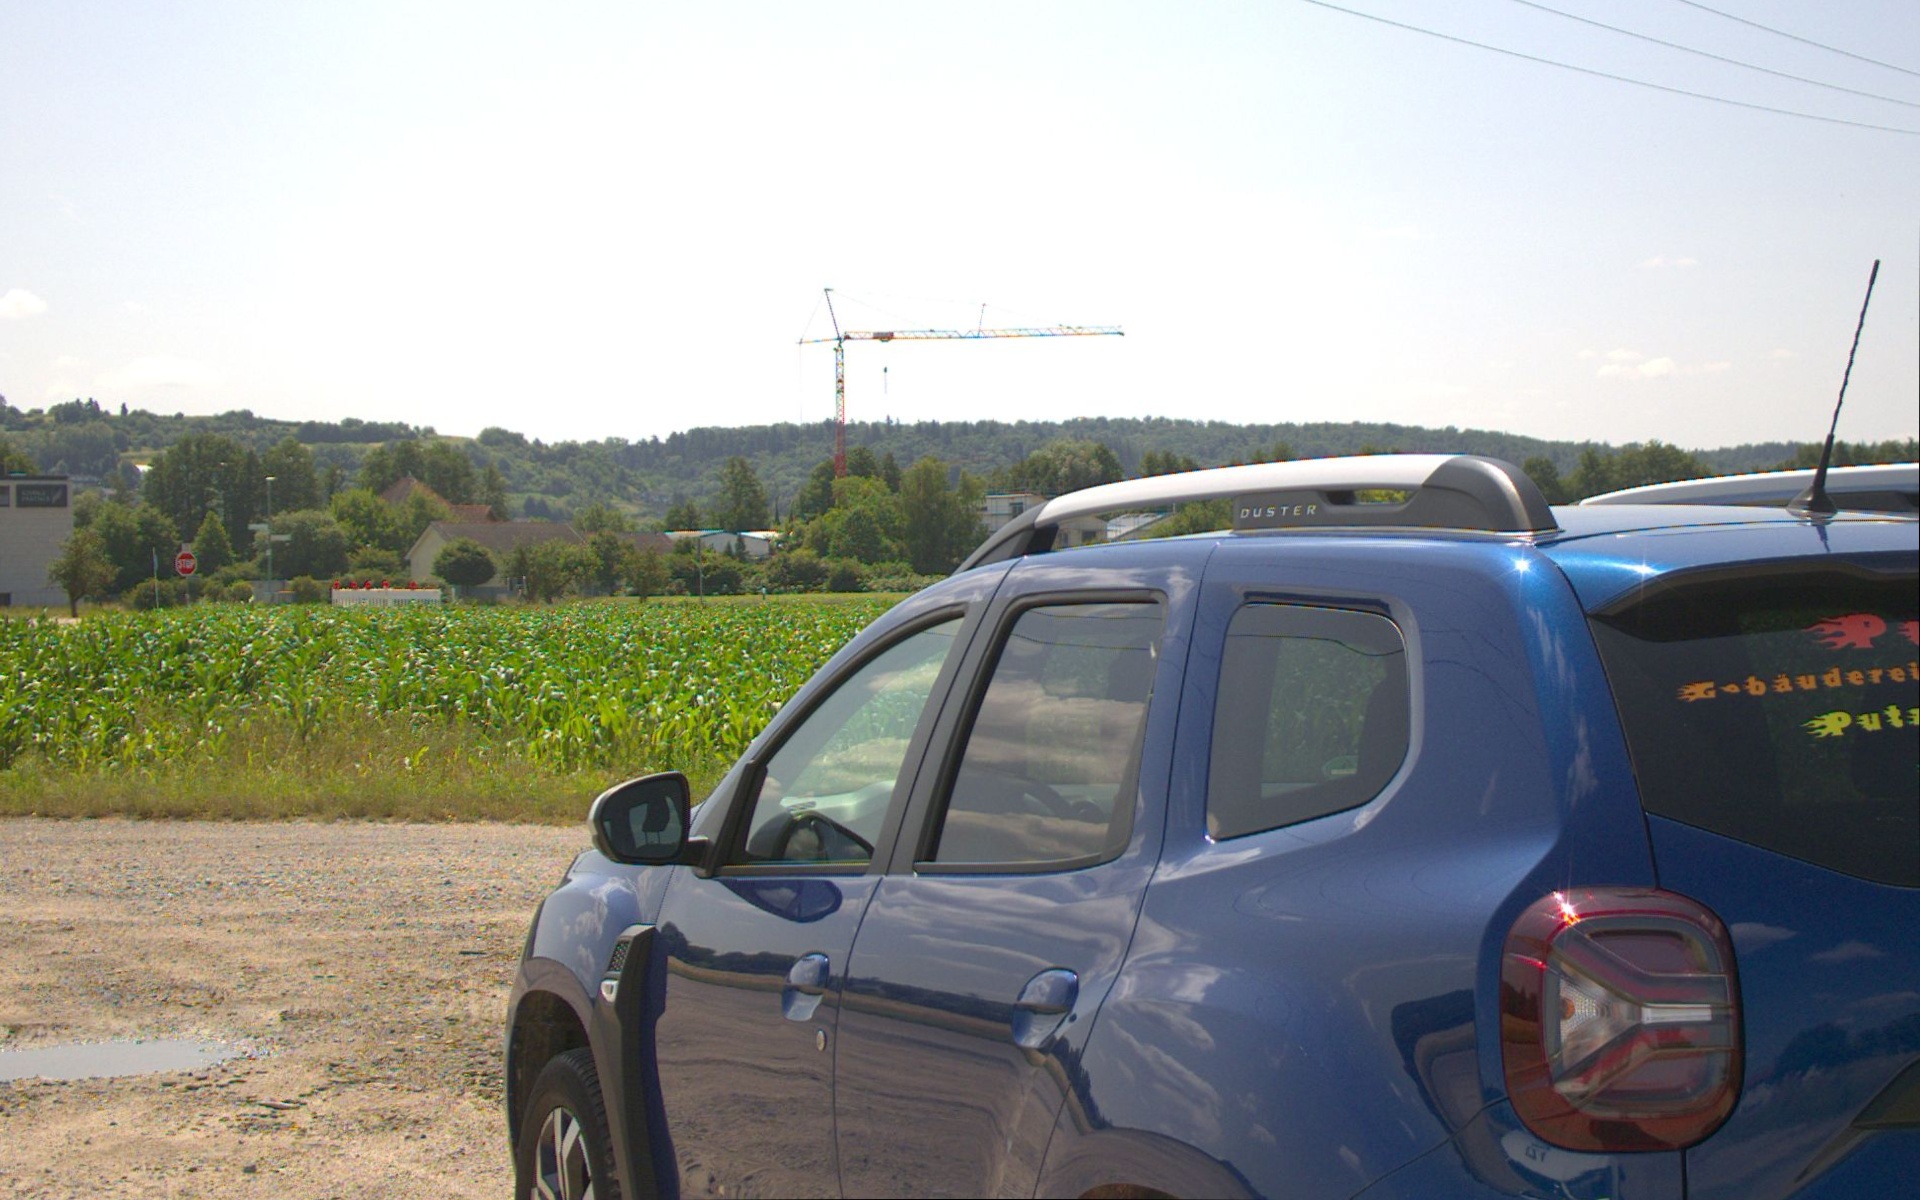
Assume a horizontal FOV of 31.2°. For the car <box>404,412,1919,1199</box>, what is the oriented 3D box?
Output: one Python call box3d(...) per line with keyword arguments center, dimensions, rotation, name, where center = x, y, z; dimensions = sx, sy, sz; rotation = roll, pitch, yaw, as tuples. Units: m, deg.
box3d(center=(0.531, 0.682, 5.545), dimensions=(1.858, 1.655, 4.459), rotation=(0, -1, -22), name="car")
